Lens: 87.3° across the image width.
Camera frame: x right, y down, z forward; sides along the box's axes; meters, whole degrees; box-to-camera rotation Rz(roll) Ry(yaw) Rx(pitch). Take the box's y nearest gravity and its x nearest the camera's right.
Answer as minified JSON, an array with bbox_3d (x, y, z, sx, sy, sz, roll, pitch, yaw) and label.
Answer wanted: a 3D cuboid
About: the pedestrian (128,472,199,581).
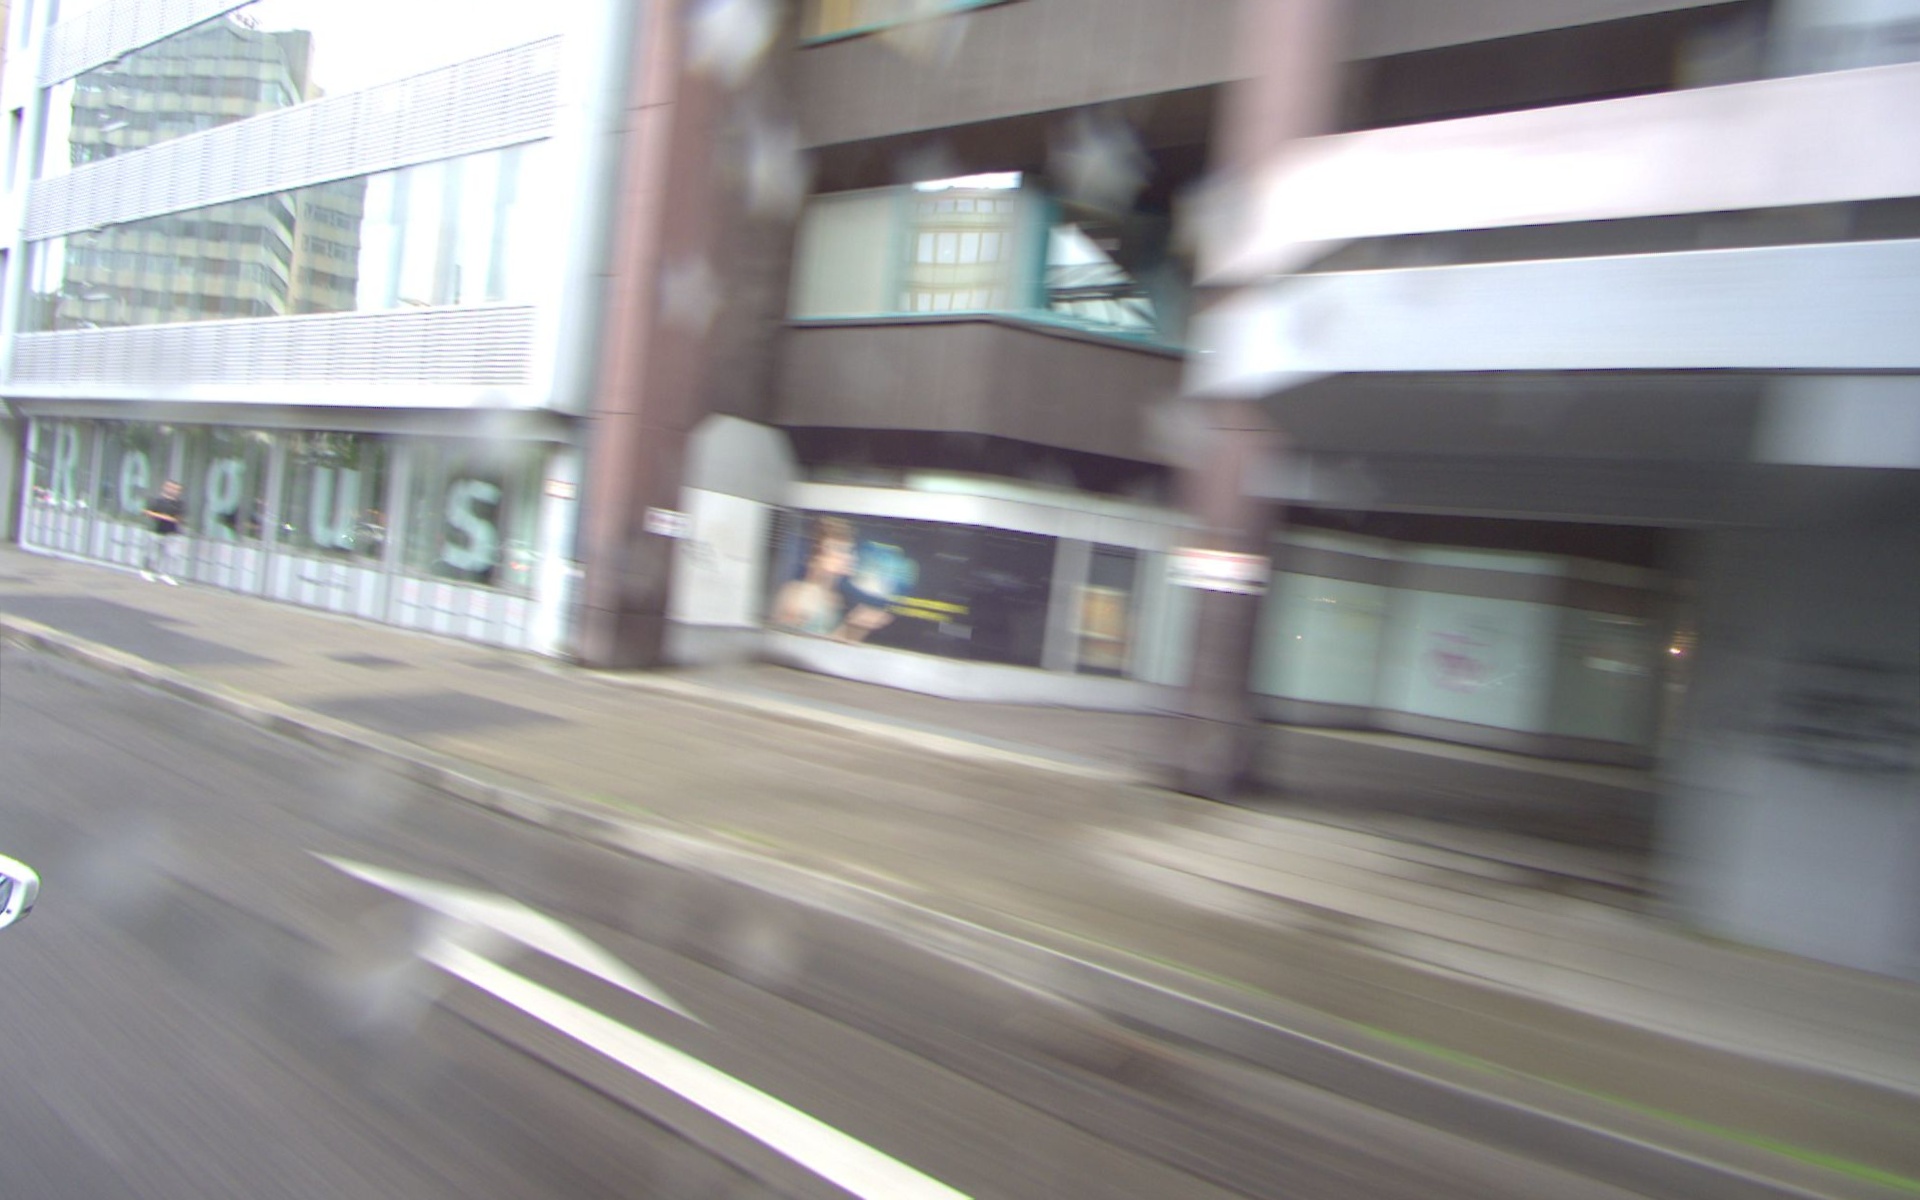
[{"bbox_3d":[-14.010,-1.290,17.690,0.777,1.795,0.636,6,1,32],"label":"pedestrian"}]
